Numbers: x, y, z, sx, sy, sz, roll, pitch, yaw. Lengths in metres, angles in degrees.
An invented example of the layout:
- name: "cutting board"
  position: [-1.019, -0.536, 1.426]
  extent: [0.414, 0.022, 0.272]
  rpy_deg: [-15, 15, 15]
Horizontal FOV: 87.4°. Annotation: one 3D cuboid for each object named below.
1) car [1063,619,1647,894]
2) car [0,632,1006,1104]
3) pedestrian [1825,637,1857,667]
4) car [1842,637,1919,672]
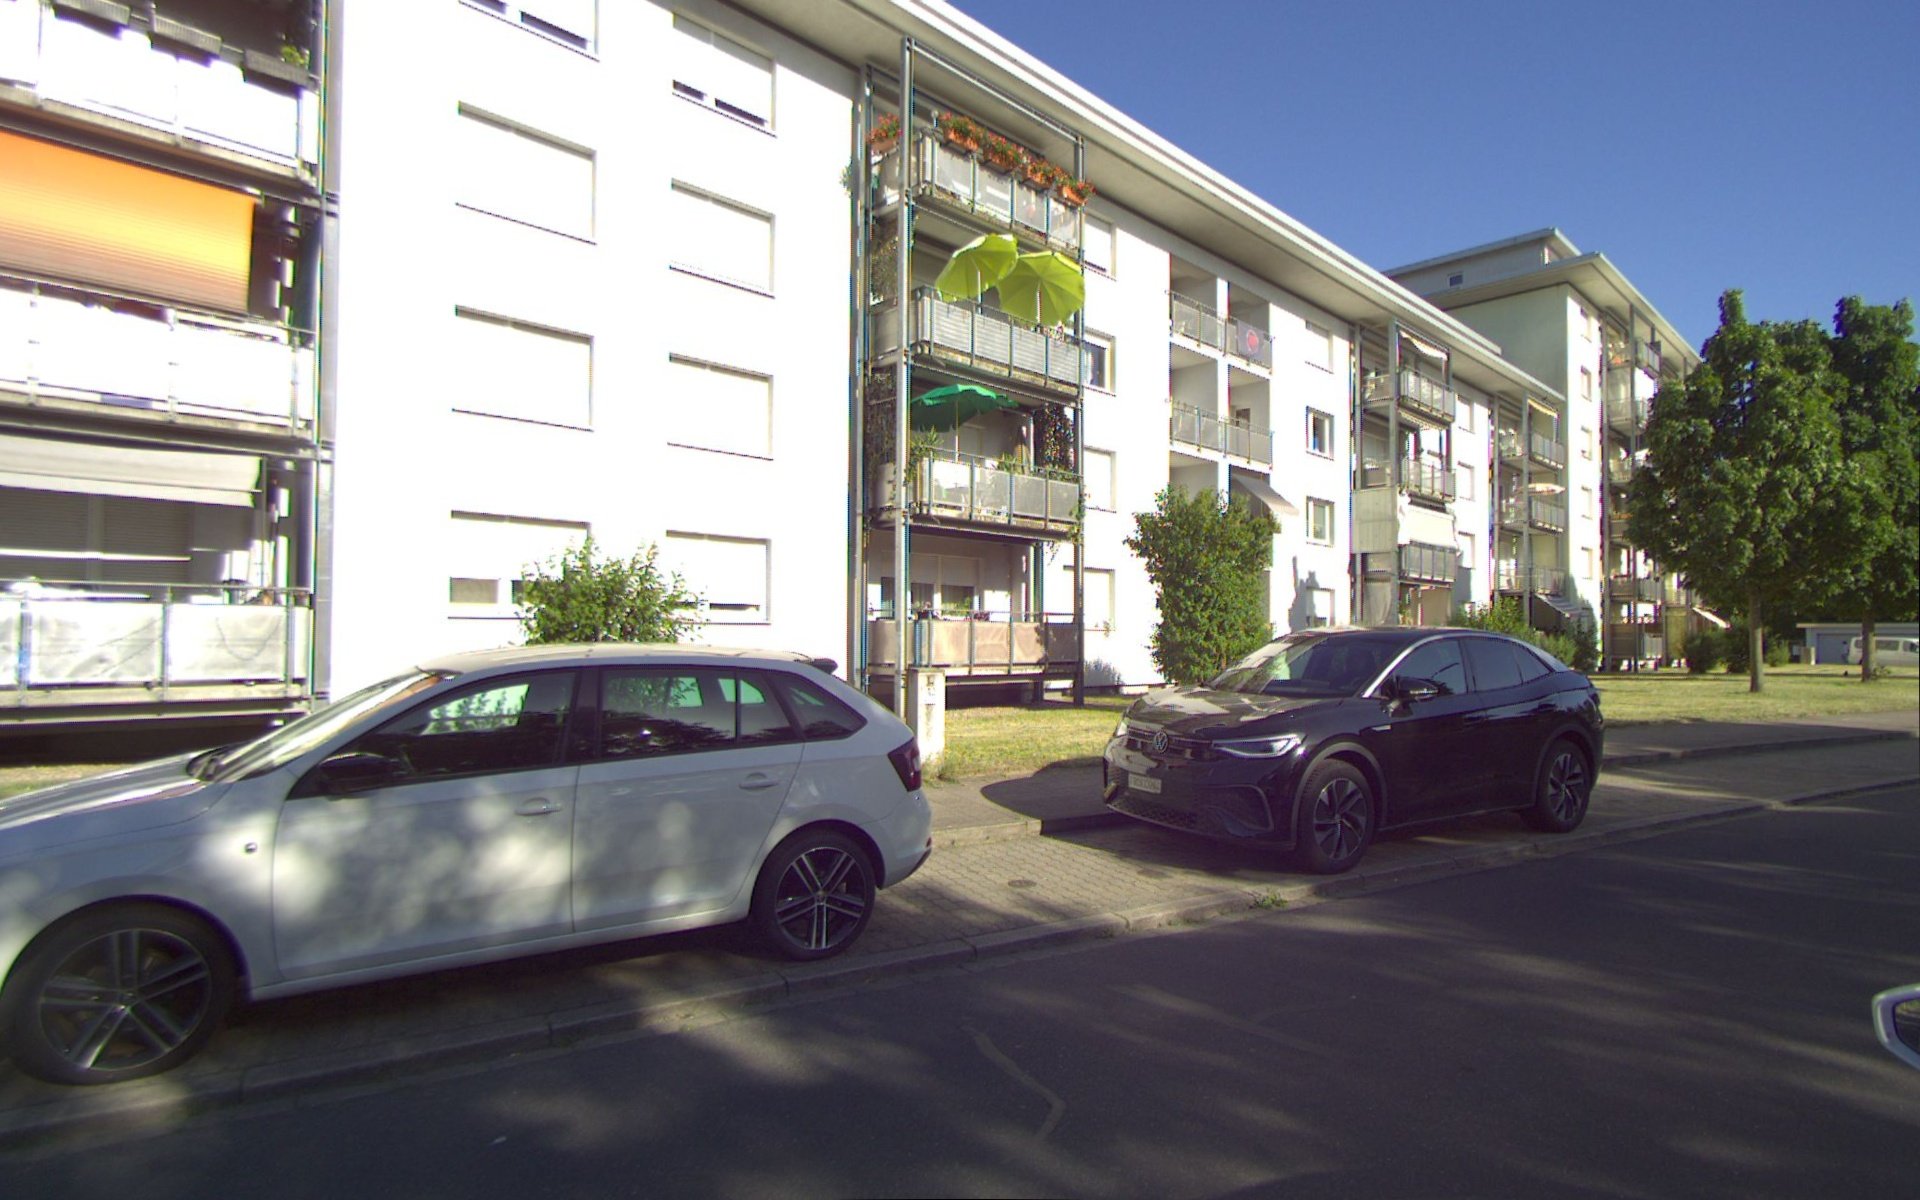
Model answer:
- name: "car"
  position: [3.282, 1.027, 8.036]
  extent: [4.759, 1.625, 1.904]
  rpy_deg: [2, -3, -32]
- name: "car"
  position: [-2.012, 0.911, 4.778]
  extent: [4.280, 1.486, 1.639]
  rpy_deg: [1, -1, -30]
- name: "pedestrian"
  position: [60.721, 3.577, 69.241]
  extent: [1.086, 2.040, 1.463]
  rpy_deg: [2, -3, -36]
- name: "car"
  position: [55.432, 3.179, 58.918]
  extent: [2.203, 1.976, 5.101]
  rpy_deg: [1, -3, -19]
